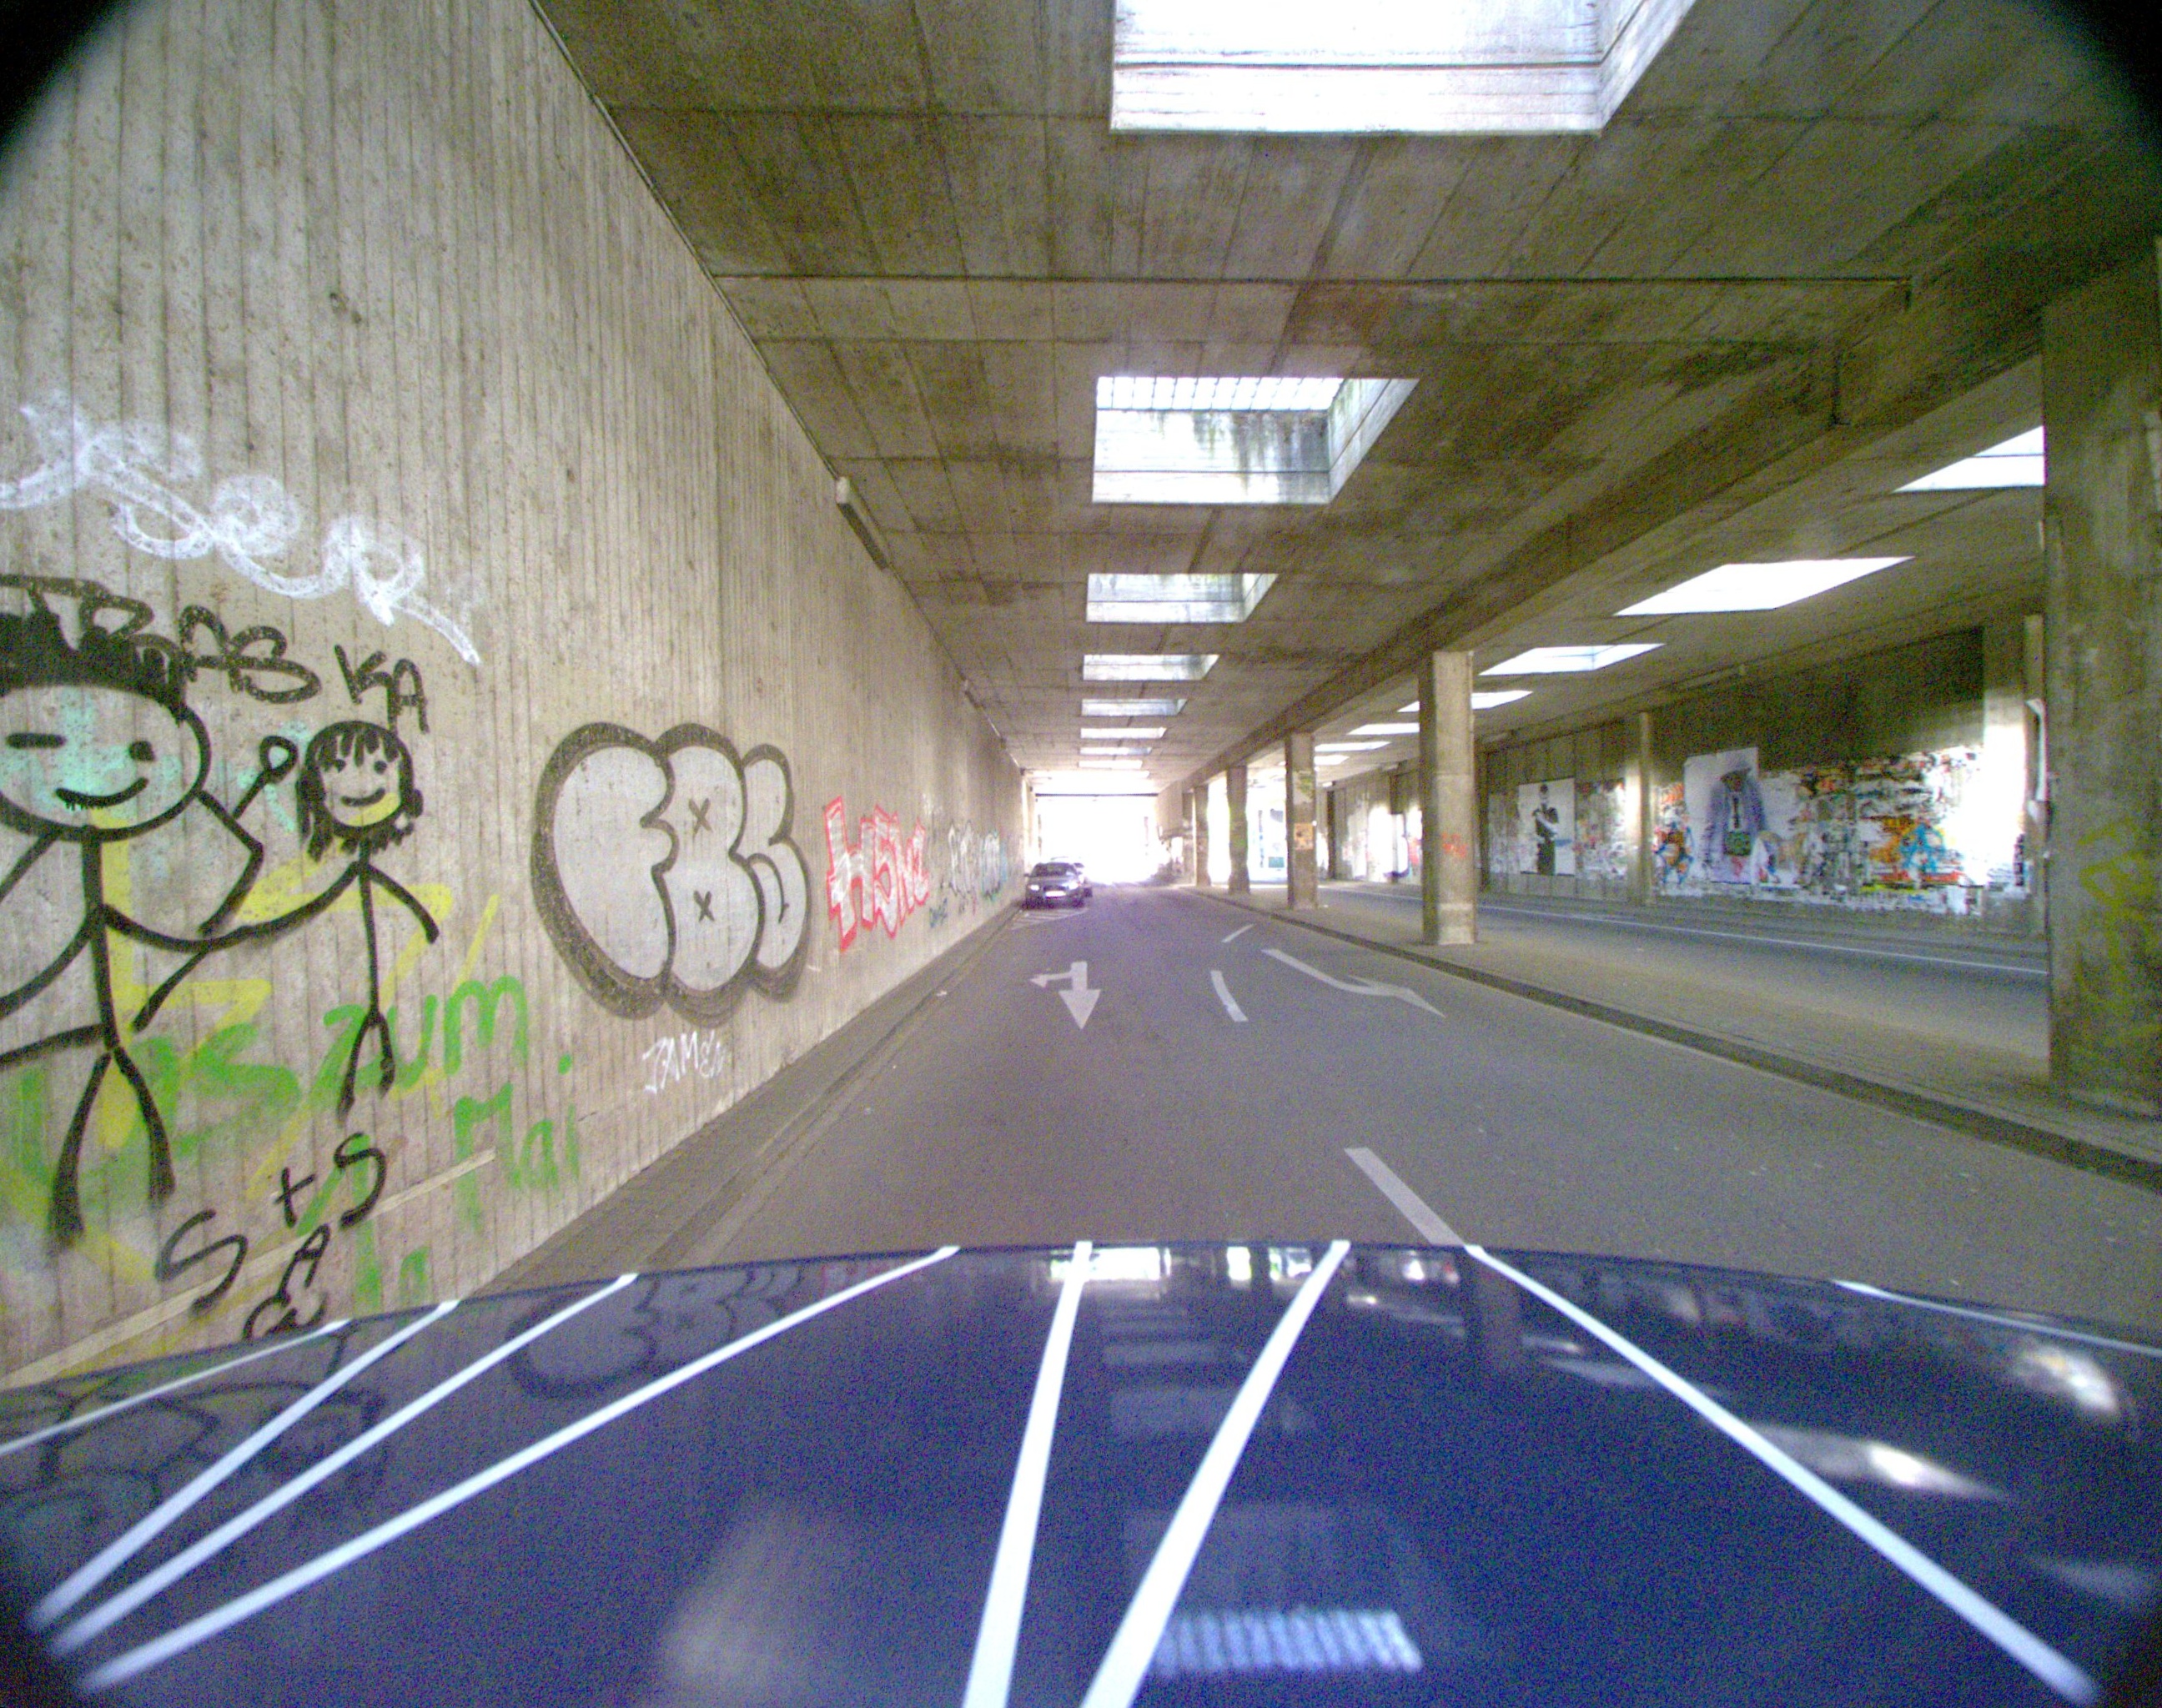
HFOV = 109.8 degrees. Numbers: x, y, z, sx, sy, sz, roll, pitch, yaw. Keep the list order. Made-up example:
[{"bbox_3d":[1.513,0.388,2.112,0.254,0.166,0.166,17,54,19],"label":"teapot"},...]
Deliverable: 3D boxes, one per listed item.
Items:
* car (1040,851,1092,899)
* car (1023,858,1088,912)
[{"bbox_3d":[-0.515,0.763,29.834,1.861,1.709,4.000,-2,0,1],"label":"car"},{"bbox_3d":[-0.719,0.910,24.051,1.808,1.460,4.000,-2,0,1],"label":"car"}]
